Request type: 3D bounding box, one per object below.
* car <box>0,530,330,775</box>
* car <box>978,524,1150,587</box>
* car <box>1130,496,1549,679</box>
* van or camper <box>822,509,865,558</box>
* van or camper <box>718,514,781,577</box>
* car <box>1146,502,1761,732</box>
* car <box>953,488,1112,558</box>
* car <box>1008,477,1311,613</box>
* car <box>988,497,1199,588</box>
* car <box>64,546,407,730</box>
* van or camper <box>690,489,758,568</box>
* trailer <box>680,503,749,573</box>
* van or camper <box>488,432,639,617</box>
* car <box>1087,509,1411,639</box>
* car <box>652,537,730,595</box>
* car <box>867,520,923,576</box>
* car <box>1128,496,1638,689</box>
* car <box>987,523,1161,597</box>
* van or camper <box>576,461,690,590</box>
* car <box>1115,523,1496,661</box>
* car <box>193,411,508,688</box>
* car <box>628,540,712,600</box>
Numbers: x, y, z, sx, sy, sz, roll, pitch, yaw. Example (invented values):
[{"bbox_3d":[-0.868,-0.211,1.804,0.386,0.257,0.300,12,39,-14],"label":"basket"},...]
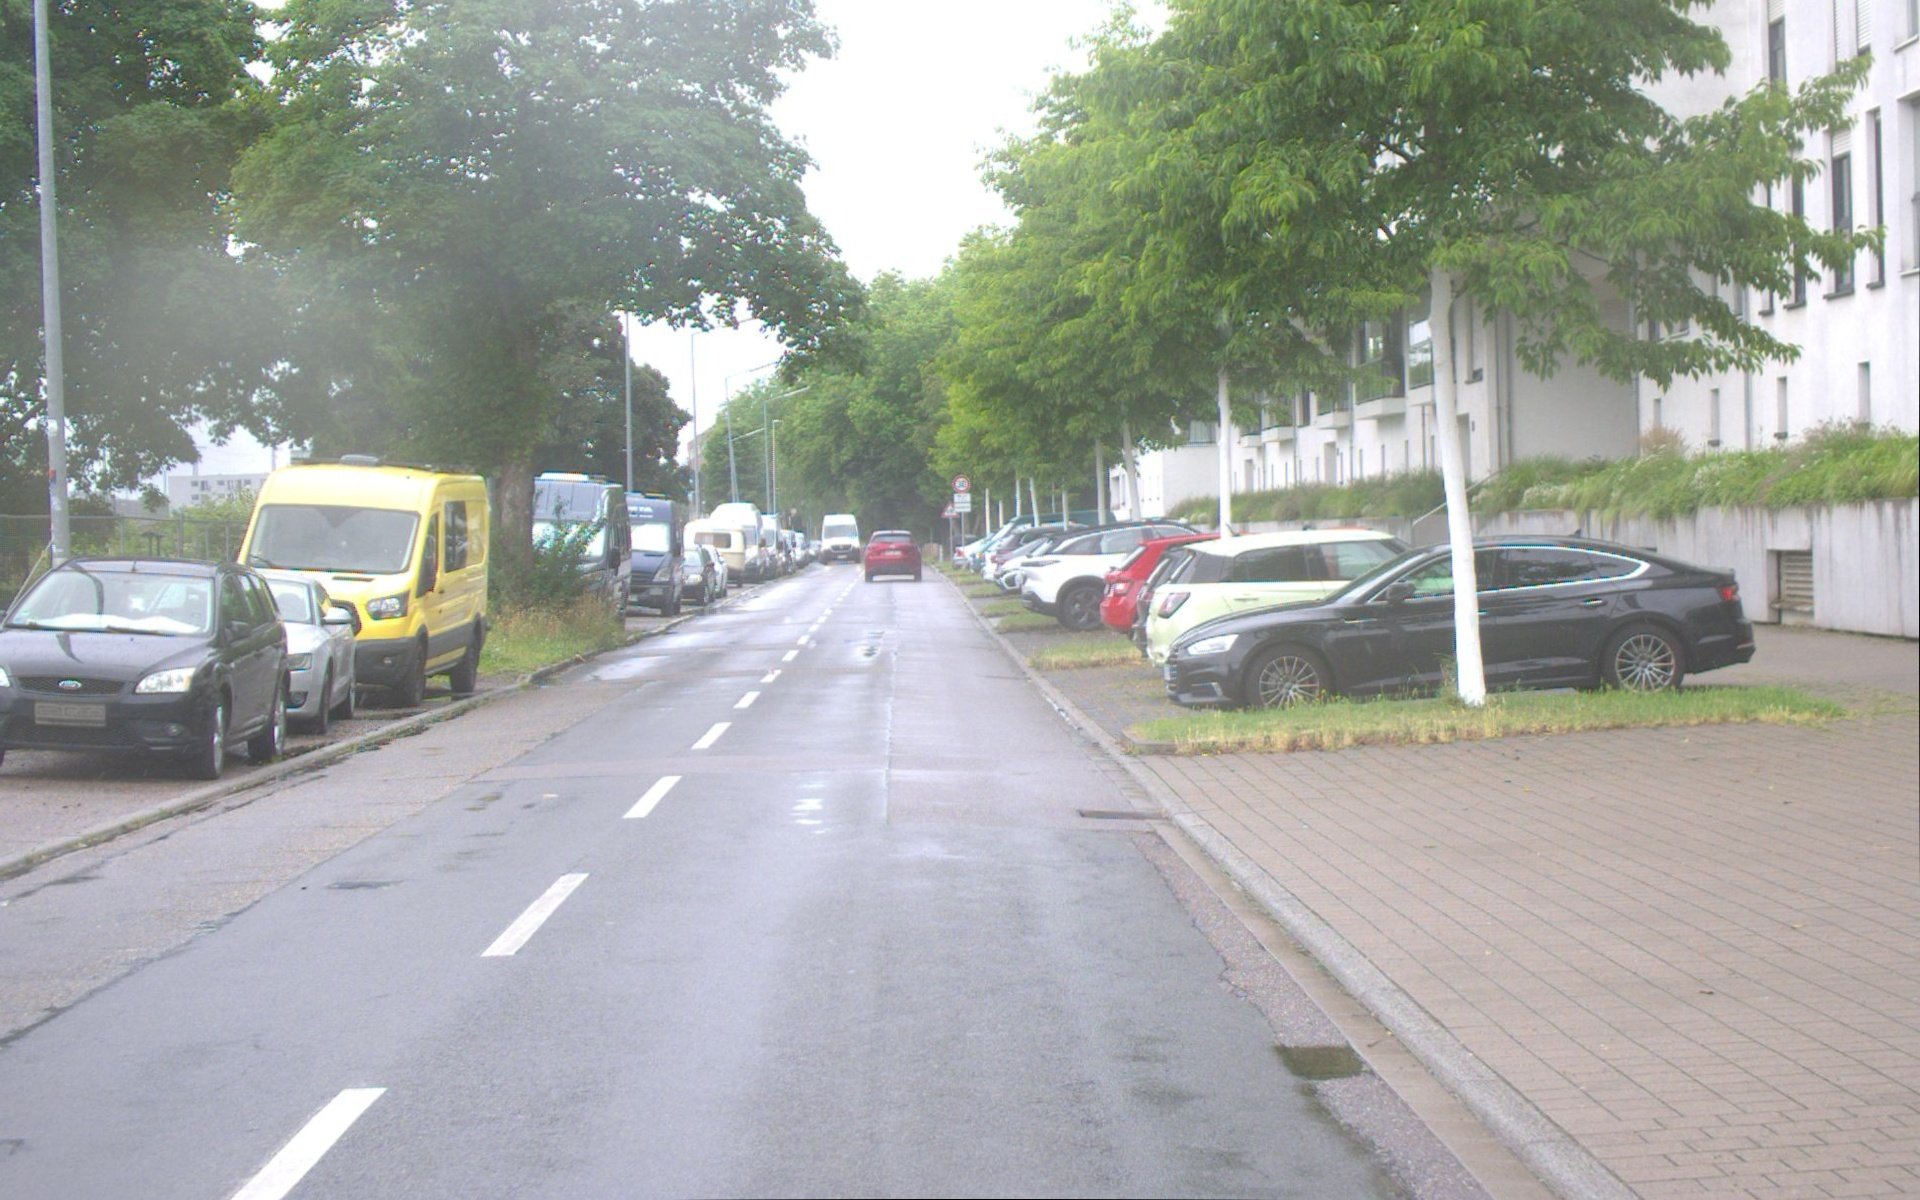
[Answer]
[{"bbox_3d":[-6.009,0.313,25.201,1.993,1.588,5.018,1,1,-2],"label":"car"},{"bbox_3d":[2.692,-1.161,89.493,4.298,1.423,1.637,-3,1,-3],"label":"car"},{"bbox_3d":[3.819,-0.135,35.018,3.987,1.550,1.635,-4,1,0],"label":"car"},{"bbox_3d":[-6.200,-3.515,183.296,1.993,2.488,7.178,-2,1,0],"label":"van or camper"},{"bbox_3d":[-8.422,-2.176,137.994,2.189,2.453,6.377,0,1,-1],"label":"van or camper"},{"bbox_3d":[3.896,0.116,27.660,4.570,1.492,1.826,-4,1,-2],"label":"car"},{"bbox_3d":[2.180,-2.341,104.106,4.617,2.012,1.859,-1,1,-5],"label":"car"},{"bbox_3d":[3.172,-0.879,55.287,4.539,1.679,1.886,-6,1,-3],"label":"car"},{"bbox_3d":[2.954,-1.307,76.996,4.476,1.681,1.936,-4,2,-2],"label":"car"},{"bbox_3d":[-6.302,0.275,30.533,2.010,1.429,5.340,2,1,-1],"label":"car"},{"bbox_3d":[-8.478,-2.544,123.959,1.993,2.752,7.899,0,1,-1],"label":"van or camper"},{"bbox_3d":[-7.932,-2.008,111.507,2.058,2.210,5.795,0,1,-2],"label":"trailer"},{"bbox_3d":[-7.007,-1.302,61.399,2.094,3.084,6.425,1,0,-2],"label":"van or camper"},{"bbox_3d":[3.749,-0.331,45.115,3.987,1.446,1.821,-3,0,-1],"label":"car"},{"bbox_3d":[-7.482,-0.967,95.888,1.887,1.520,5.110,1,1,-2],"label":"car"},{"bbox_3d":[-2.094,-1.676,111.852,1.756,1.700,4.000,-1,-1,-1],"label":"car"},{"bbox_3d":[3.923,-0.084,32.376,4.487,1.476,1.692,-4,1,-1],"label":"car"},{"bbox_3d":[2.692,-0.964,81.807,3.987,1.504,1.684,-3,2,-1],"label":"car"},{"bbox_3d":[-7.260,-1.619,76.919,2.094,2.706,7.575,1,0,-3],"label":"van or camper"},{"bbox_3d":[3.749,-0.101,37.659,3.956,1.469,1.592,0,1,-3],"label":"car"},{"bbox_3d":[-6.413,-0.548,36.947,2.192,2.685,6.081,1,1,1],"label":"car"},{"bbox_3d":[-7.493,-0.800,89.178,1.774,1.497,4.828,1,1,0],"label":"car"}]
